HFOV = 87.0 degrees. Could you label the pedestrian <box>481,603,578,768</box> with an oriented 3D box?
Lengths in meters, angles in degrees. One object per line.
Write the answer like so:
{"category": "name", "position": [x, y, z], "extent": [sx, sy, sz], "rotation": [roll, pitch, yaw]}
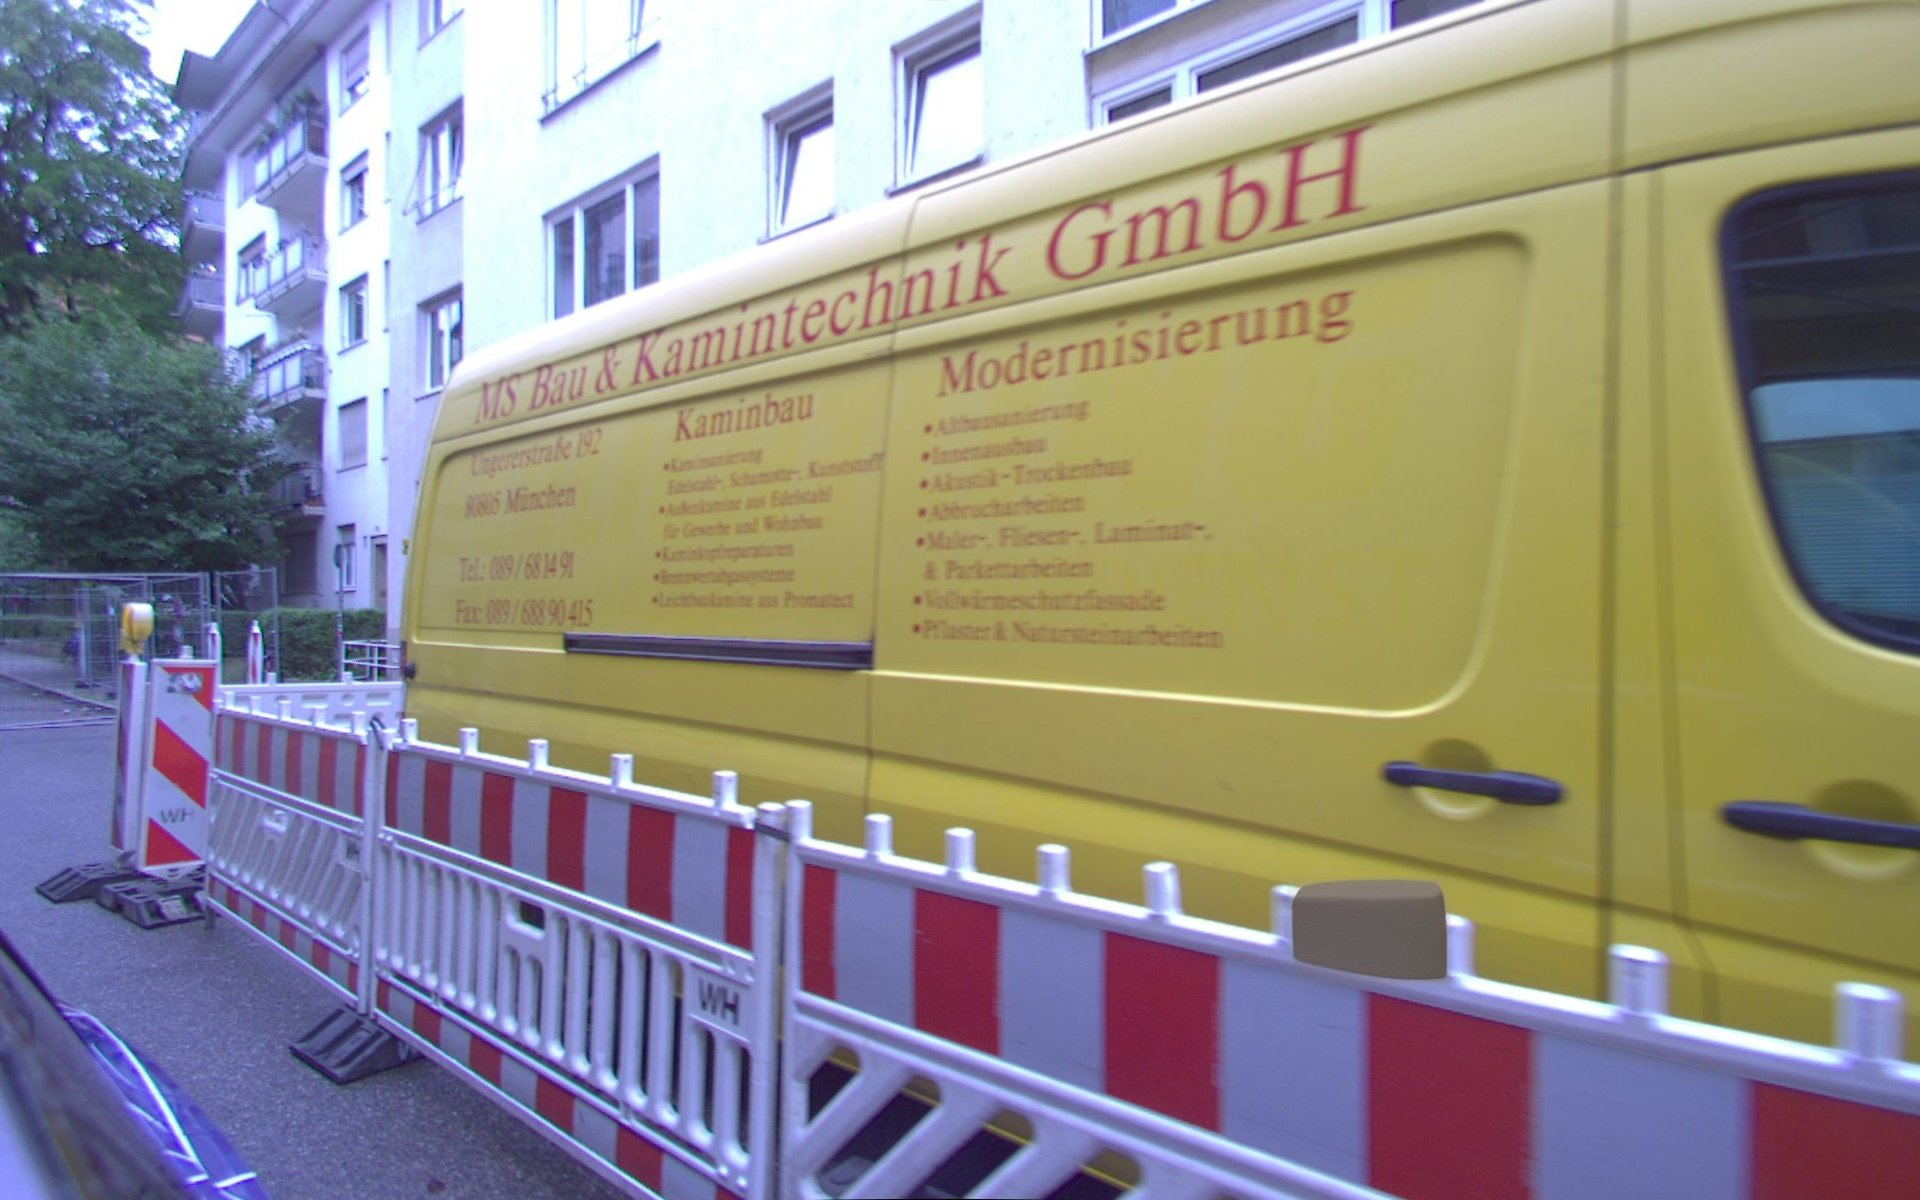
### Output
{"category": "pedestrian", "position": [-4.249, 0.812, 9.992], "extent": [0.747, 1.543, 0.631], "rotation": [-1, -2, 43]}

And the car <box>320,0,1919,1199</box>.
{"category": "car", "position": [0.482, 0.150, 2.935], "extent": [6.731, 2.598, 1.973], "rotation": [-1, -2, 40]}

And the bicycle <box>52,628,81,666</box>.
{"category": "bicycle", "position": [-26.187, 1.360, 29.659], "extent": [1.779, 1.080, 0.343], "rotation": [-1, 2, 41]}

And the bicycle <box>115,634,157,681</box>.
{"category": "bicycle", "position": [-19.066, 1.313, 23.401], "extent": [1.853, 0.986, 0.439], "rotation": [0, 2, 42]}

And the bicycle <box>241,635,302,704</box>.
{"category": "bicycle", "position": [-11.609, 1.147, 17.043], "extent": [1.597, 1.070, 0.373], "rotation": [-1, 4, 41]}

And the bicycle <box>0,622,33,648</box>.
{"category": "bicycle", "position": [-47.750, 1.744, 50.743], "extent": [0.431, 1.270, 1.789], "rotation": [-1, -1, 39]}

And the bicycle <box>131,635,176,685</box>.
{"category": "bicycle", "position": [-17.671, 1.295, 22.163], "extent": [1.815, 0.986, 0.439], "rotation": [0, 2, 42]}

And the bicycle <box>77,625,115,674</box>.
{"category": "bicycle", "position": [-22.177, 1.257, 25.957], "extent": [1.698, 1.160, 0.483], "rotation": [0, 2, 42]}
